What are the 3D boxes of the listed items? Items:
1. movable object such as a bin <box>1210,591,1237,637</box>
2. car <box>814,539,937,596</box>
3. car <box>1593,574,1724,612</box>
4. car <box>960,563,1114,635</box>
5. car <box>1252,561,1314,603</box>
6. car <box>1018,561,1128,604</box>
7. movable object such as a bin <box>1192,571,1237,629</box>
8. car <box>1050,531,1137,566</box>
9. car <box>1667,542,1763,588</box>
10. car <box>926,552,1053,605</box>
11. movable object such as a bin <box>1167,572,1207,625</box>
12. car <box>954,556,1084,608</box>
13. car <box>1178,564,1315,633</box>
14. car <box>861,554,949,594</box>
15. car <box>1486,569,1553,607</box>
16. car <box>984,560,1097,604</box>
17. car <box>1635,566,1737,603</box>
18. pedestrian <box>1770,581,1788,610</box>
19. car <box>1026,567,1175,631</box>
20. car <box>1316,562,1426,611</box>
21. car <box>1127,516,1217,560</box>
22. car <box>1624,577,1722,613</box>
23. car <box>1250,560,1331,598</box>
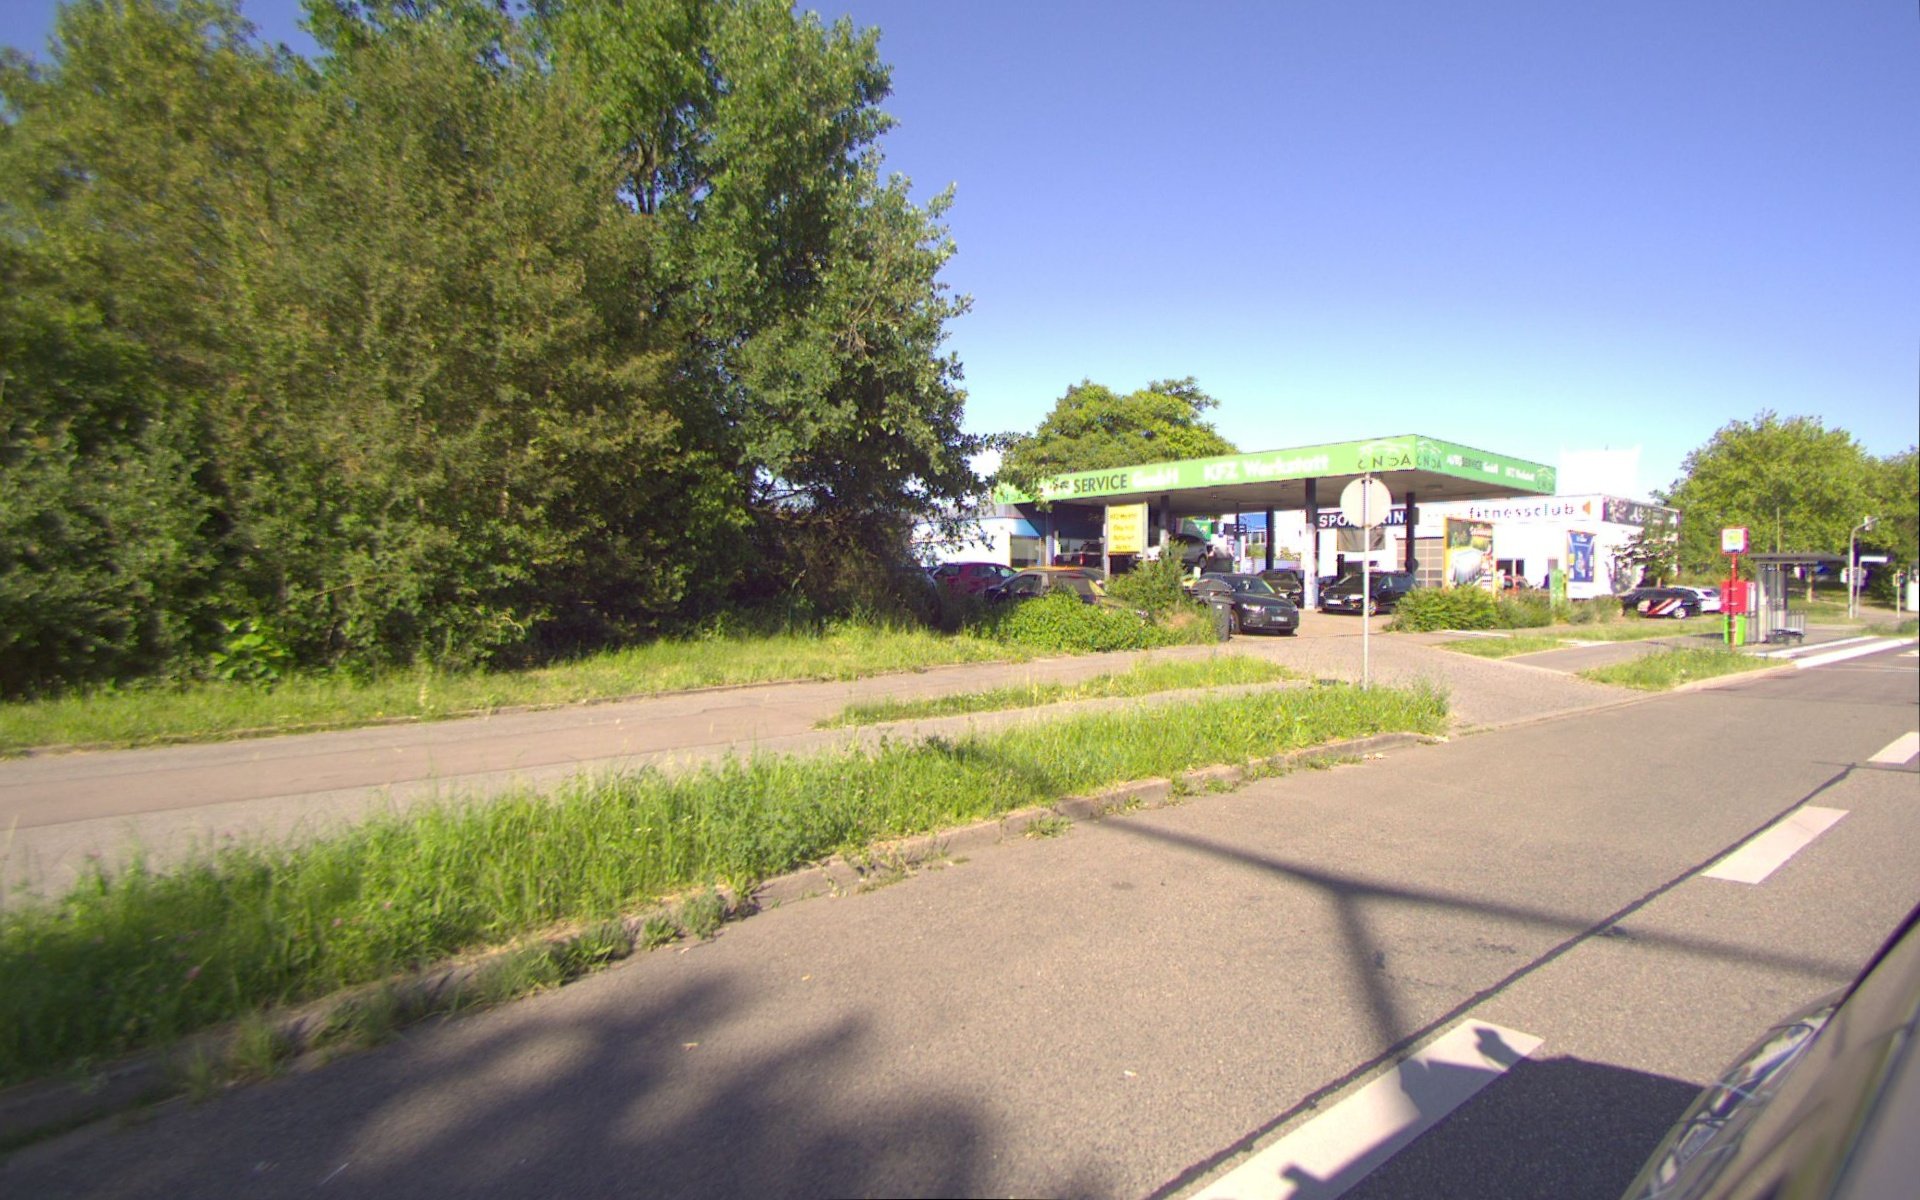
[{"bbox_3d":[6.299,0.325,24.237,0.572,1.088,0.509,0,0,8],"label":"movable object such as a bin"},{"bbox_3d":[-2.586,-1.010,30.229,1.702,1.550,4.049,-1,3,-38],"label":"car"},{"bbox_3d":[33.303,-0.335,48.350,4.748,1.549,1.900,2,3,4],"label":"car"},{"bbox_3d":[1.692,-0.009,23.127,1.740,1.505,3.291,-1,0,-38],"label":"car"},{"bbox_3d":[12.565,-0.674,39.552,1.970,1.505,3.984,-1,0,13],"label":"car"},{"bbox_3d":[4.201,-0.690,38.128,1.707,1.535,3.991,-1,2,-44],"label":"car"},{"bbox_3d":[6.493,-0.003,25.896,0.972,1.446,1.258,0,0,7],"label":"movable object such as a bin"},{"bbox_3d":[5.979,-2.270,45.246,3.562,1.496,1.923,-1,2,-39],"label":"car"},{"bbox_3d":[41.109,-1.927,55.214,1.652,2.036,4.012,4,6,-8],"label":"car"},{"bbox_3d":[1.008,-0.699,33.384,4.062,1.627,1.716,-1,0,-40],"label":"car"},{"bbox_3d":[6.316,-0.059,28.222,0.972,1.446,1.222,1,0,7],"label":"movable object such as a bin"},{"bbox_3d":[1.847,-0.531,31.107,3.846,1.483,1.727,-1,0,-40],"label":"car"},{"bbox_3d":[7.861,-0.125,28.263,1.764,1.660,4.571,1,3,-11],"label":"car"},{"bbox_3d":[-2.791,-1.259,50.585,1.966,1.805,4.514,0,0,-43],"label":"car"},{"bbox_3d":[30.263,-0.689,54.703,4.146,1.883,1.896,-1,5,-43],"label":"car"},{"bbox_3d":[2.875,-0.683,36.703,1.669,1.535,3.991,-1,2,-44],"label":"car"},{"bbox_3d":[38.475,-0.825,53.756,1.690,1.468,3.942,1,7,-29],"label":"car"},{"bbox_3d":[49.487,-0.264,61.144,0.607,1.737,0.759,0,1,-40],"label":"pedestrian"},{"bbox_3d":[3.334,-0.012,24.407,1.697,1.435,3.291,-1,0,-38],"label":"car"},{"bbox_3d":[14.185,-0.455,34.830,4.172,1.592,1.748,0,1,-39],"label":"car"},{"bbox_3d":[9.240,-2.658,43.953,3.710,1.776,1.923,-1,2,-39],"label":"car"},{"bbox_3d":[36.210,-0.288,51.440,1.808,1.305,3.620,-1,8,-38],"label":"car"},{"bbox_3d":[17.874,-1.113,54.810,1.890,1.931,3.697,0,-1,-40],"label":"car"}]
